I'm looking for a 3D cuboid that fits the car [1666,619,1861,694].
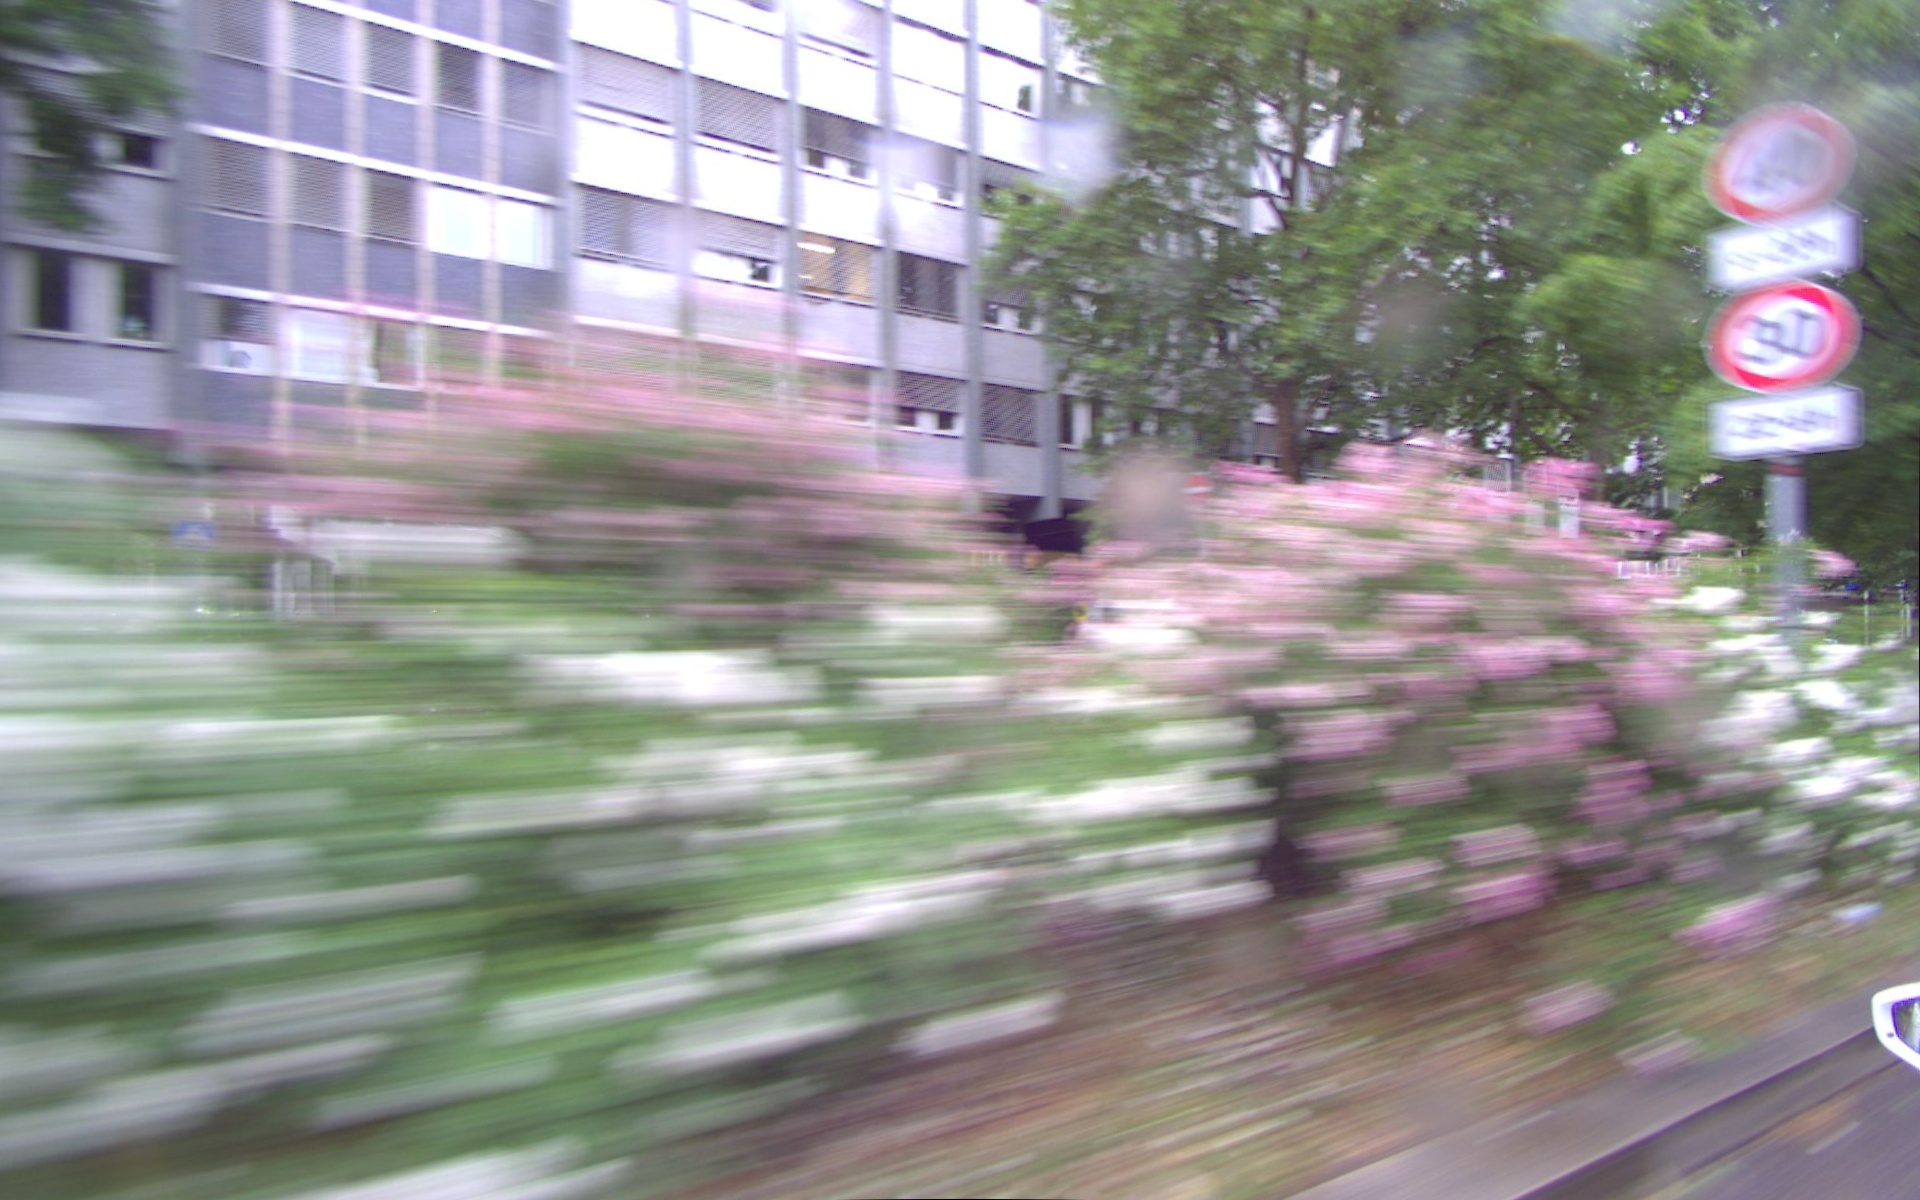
[{"bbox_3d":[17.045,1.184,21.270,4.444,1.447,1.719,2,-3,-30],"label":"car"}]
